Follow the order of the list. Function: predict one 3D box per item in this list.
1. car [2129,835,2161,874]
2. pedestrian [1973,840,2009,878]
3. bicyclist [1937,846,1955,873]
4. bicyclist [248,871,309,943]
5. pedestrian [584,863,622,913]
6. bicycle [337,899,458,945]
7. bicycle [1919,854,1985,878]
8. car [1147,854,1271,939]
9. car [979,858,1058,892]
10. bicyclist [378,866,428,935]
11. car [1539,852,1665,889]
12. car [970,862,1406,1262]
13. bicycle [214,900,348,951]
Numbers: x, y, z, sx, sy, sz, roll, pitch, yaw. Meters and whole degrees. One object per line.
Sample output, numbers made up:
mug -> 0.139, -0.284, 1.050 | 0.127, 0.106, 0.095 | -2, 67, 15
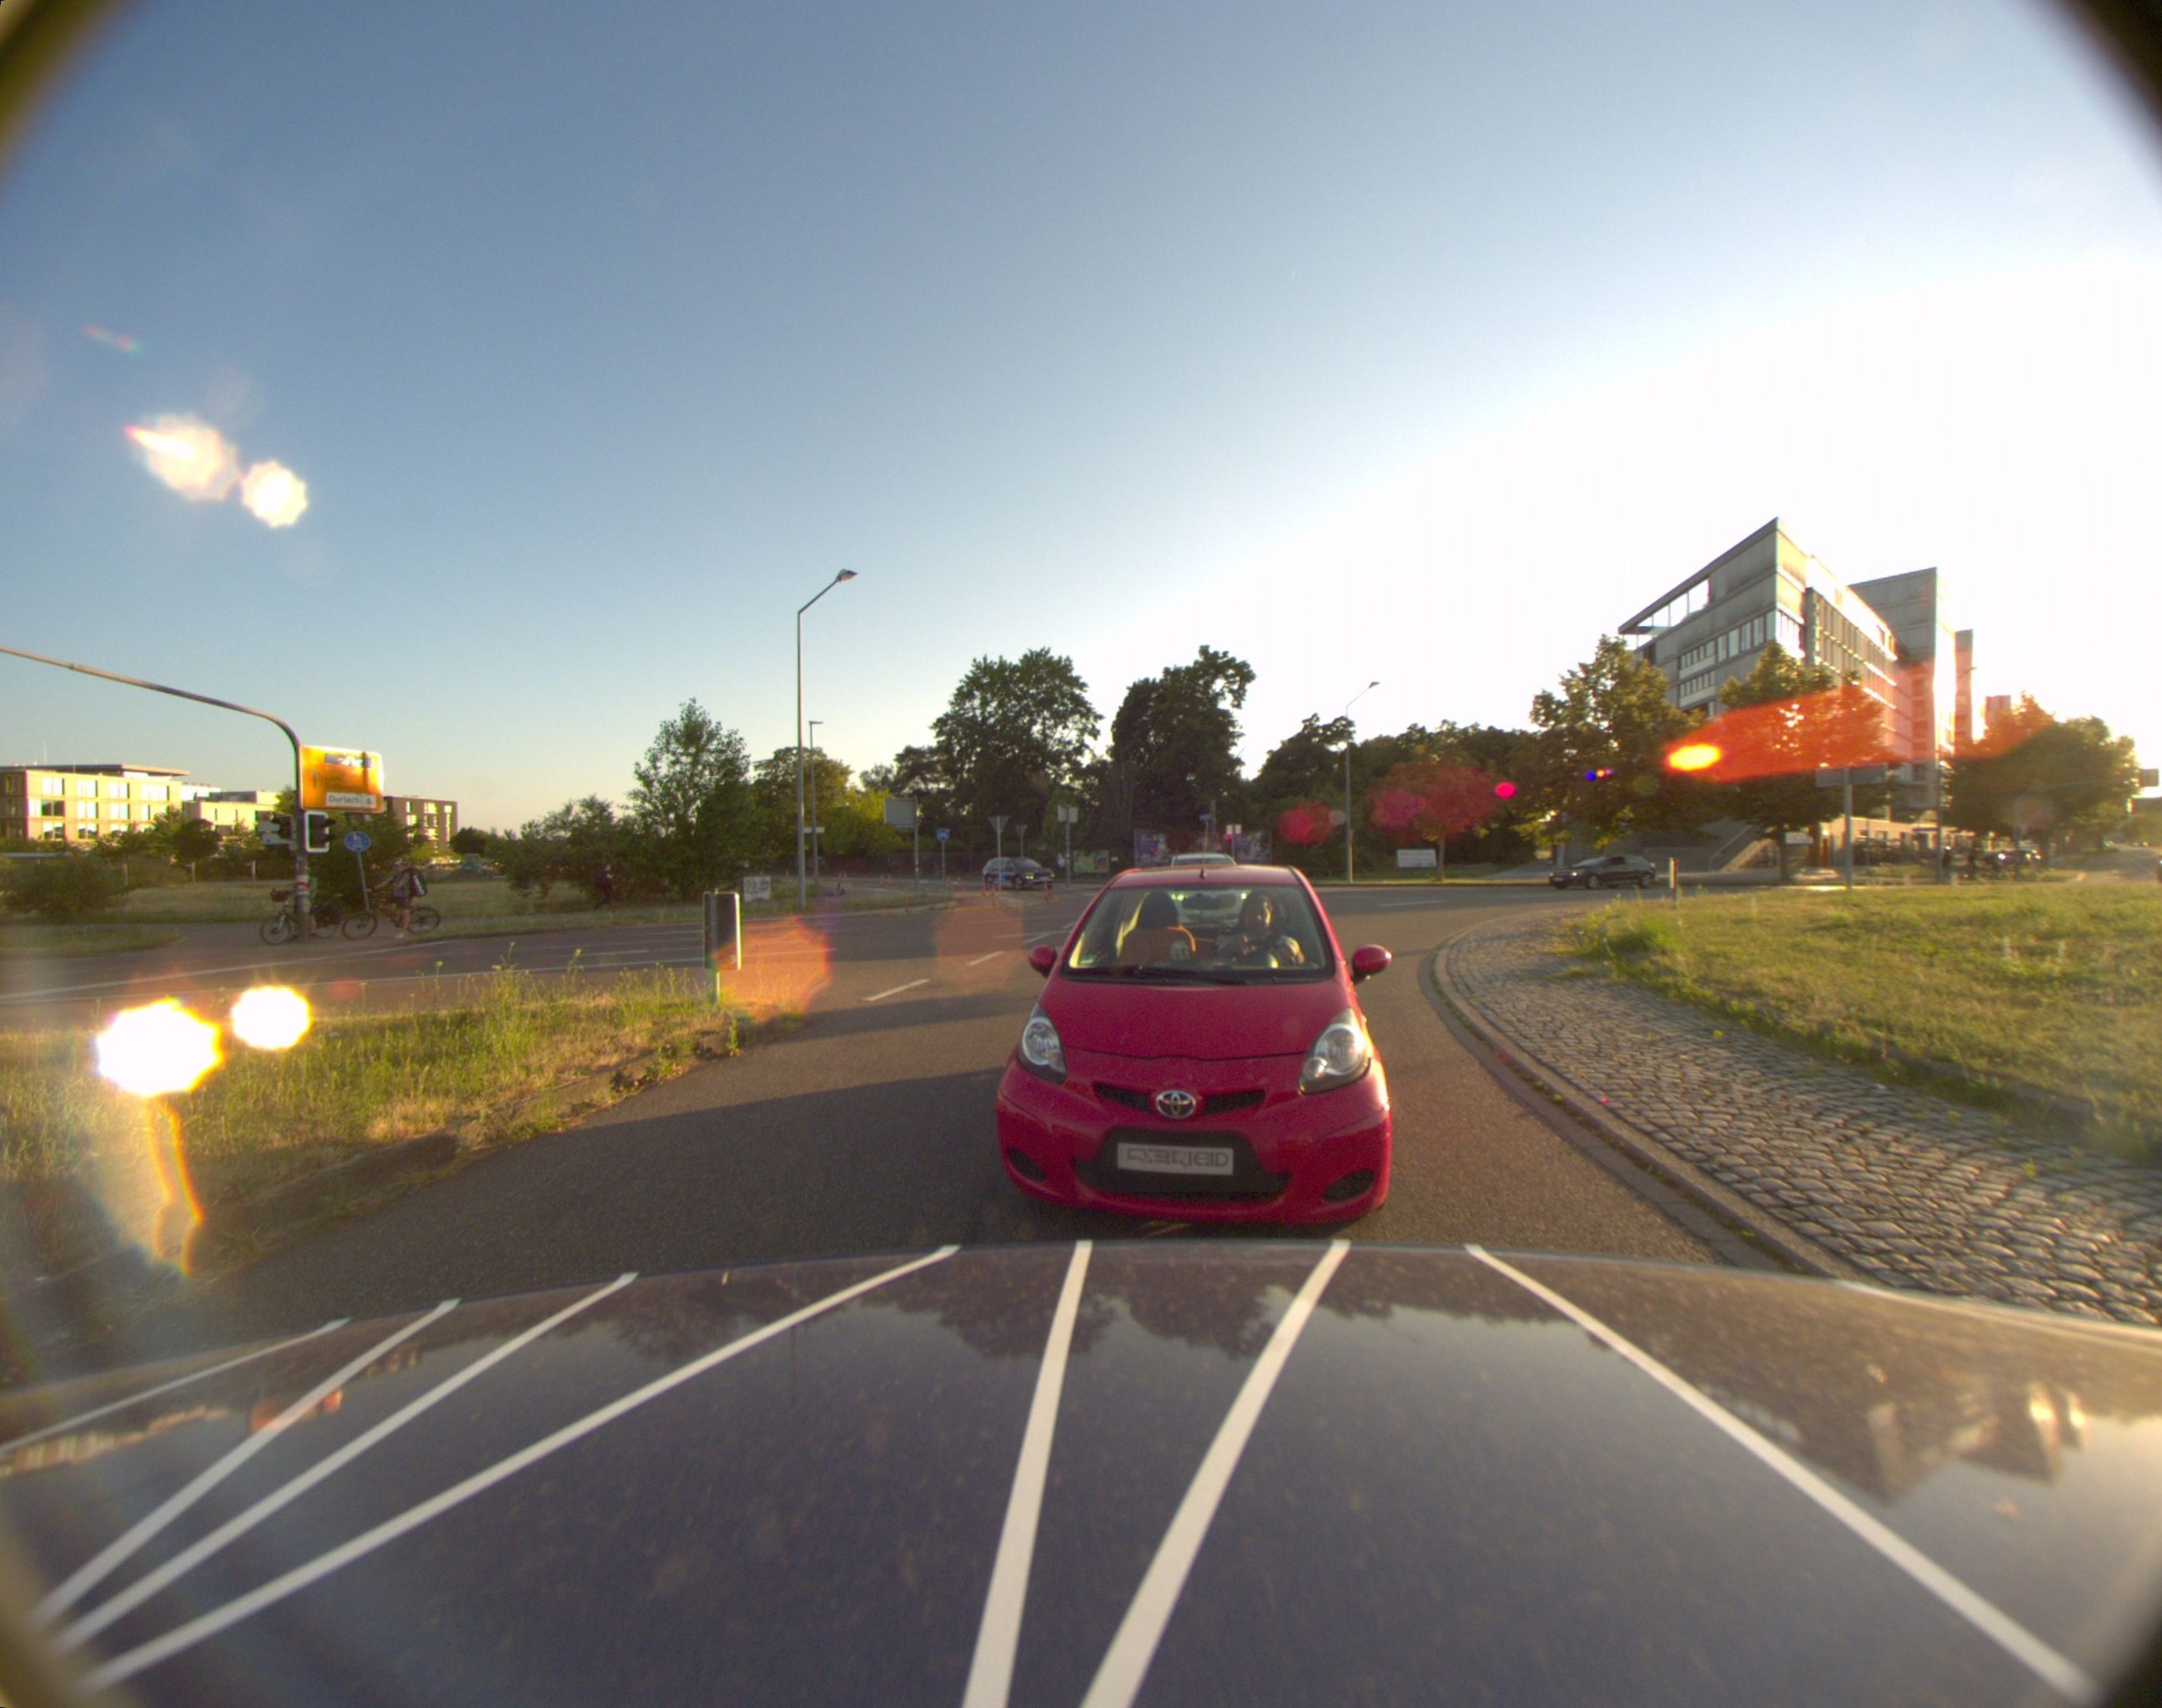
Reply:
car -> 52.859, 0.028, 36.898 | 5.317, 1.801, 1.995 | 0, -2, -39
pedestrian -> 49.221, 0.275, 41.119 | 0.776, 2.002, 0.998 | -2, 1, -11
bicyclist -> 46.969, 0.313, 41.258 | 0.693, 1.432, 0.610 | -2, 1, -42
bicyclist -> -19.337, 1.257, 18.311 | 0.724, 1.680, 0.690 | -1, 1, 12
pedestrian -> -15.800, 1.104, 25.107 | 0.993, 1.581, 0.924 | -1, 1, -33
bicycle -> -17.168, 1.679, 19.159 | 0.708, 0.957, 2.149 | -1, 0, 26
bicycle -> 47.082, 0.632, 41.116 | 0.744, 1.237, 2.341 | -2, 1, -41
car -> 2.648, 0.815, 16.721 | 1.998, 1.597, 4.198 | -1, 0, 0
car -> -3.236, 1.003, 38.418 | 2.004, 1.588, 4.303 | -1, 1, -36
bicyclist -> -17.152, 1.165, 19.219 | 0.723, 1.680, 0.690 | -1, 1, 28
car -> 21.389, 0.652, 31.276 | 4.125, 1.371, 1.750 | -1, 0, -7
car -> 0.807, 0.809, 4.952 | 1.687, 1.412, 4.004 | -1, 0, 12
bicycle -> -19.279, 1.698, 18.398 | 0.708, 0.958, 2.109 | -1, 2, 14
